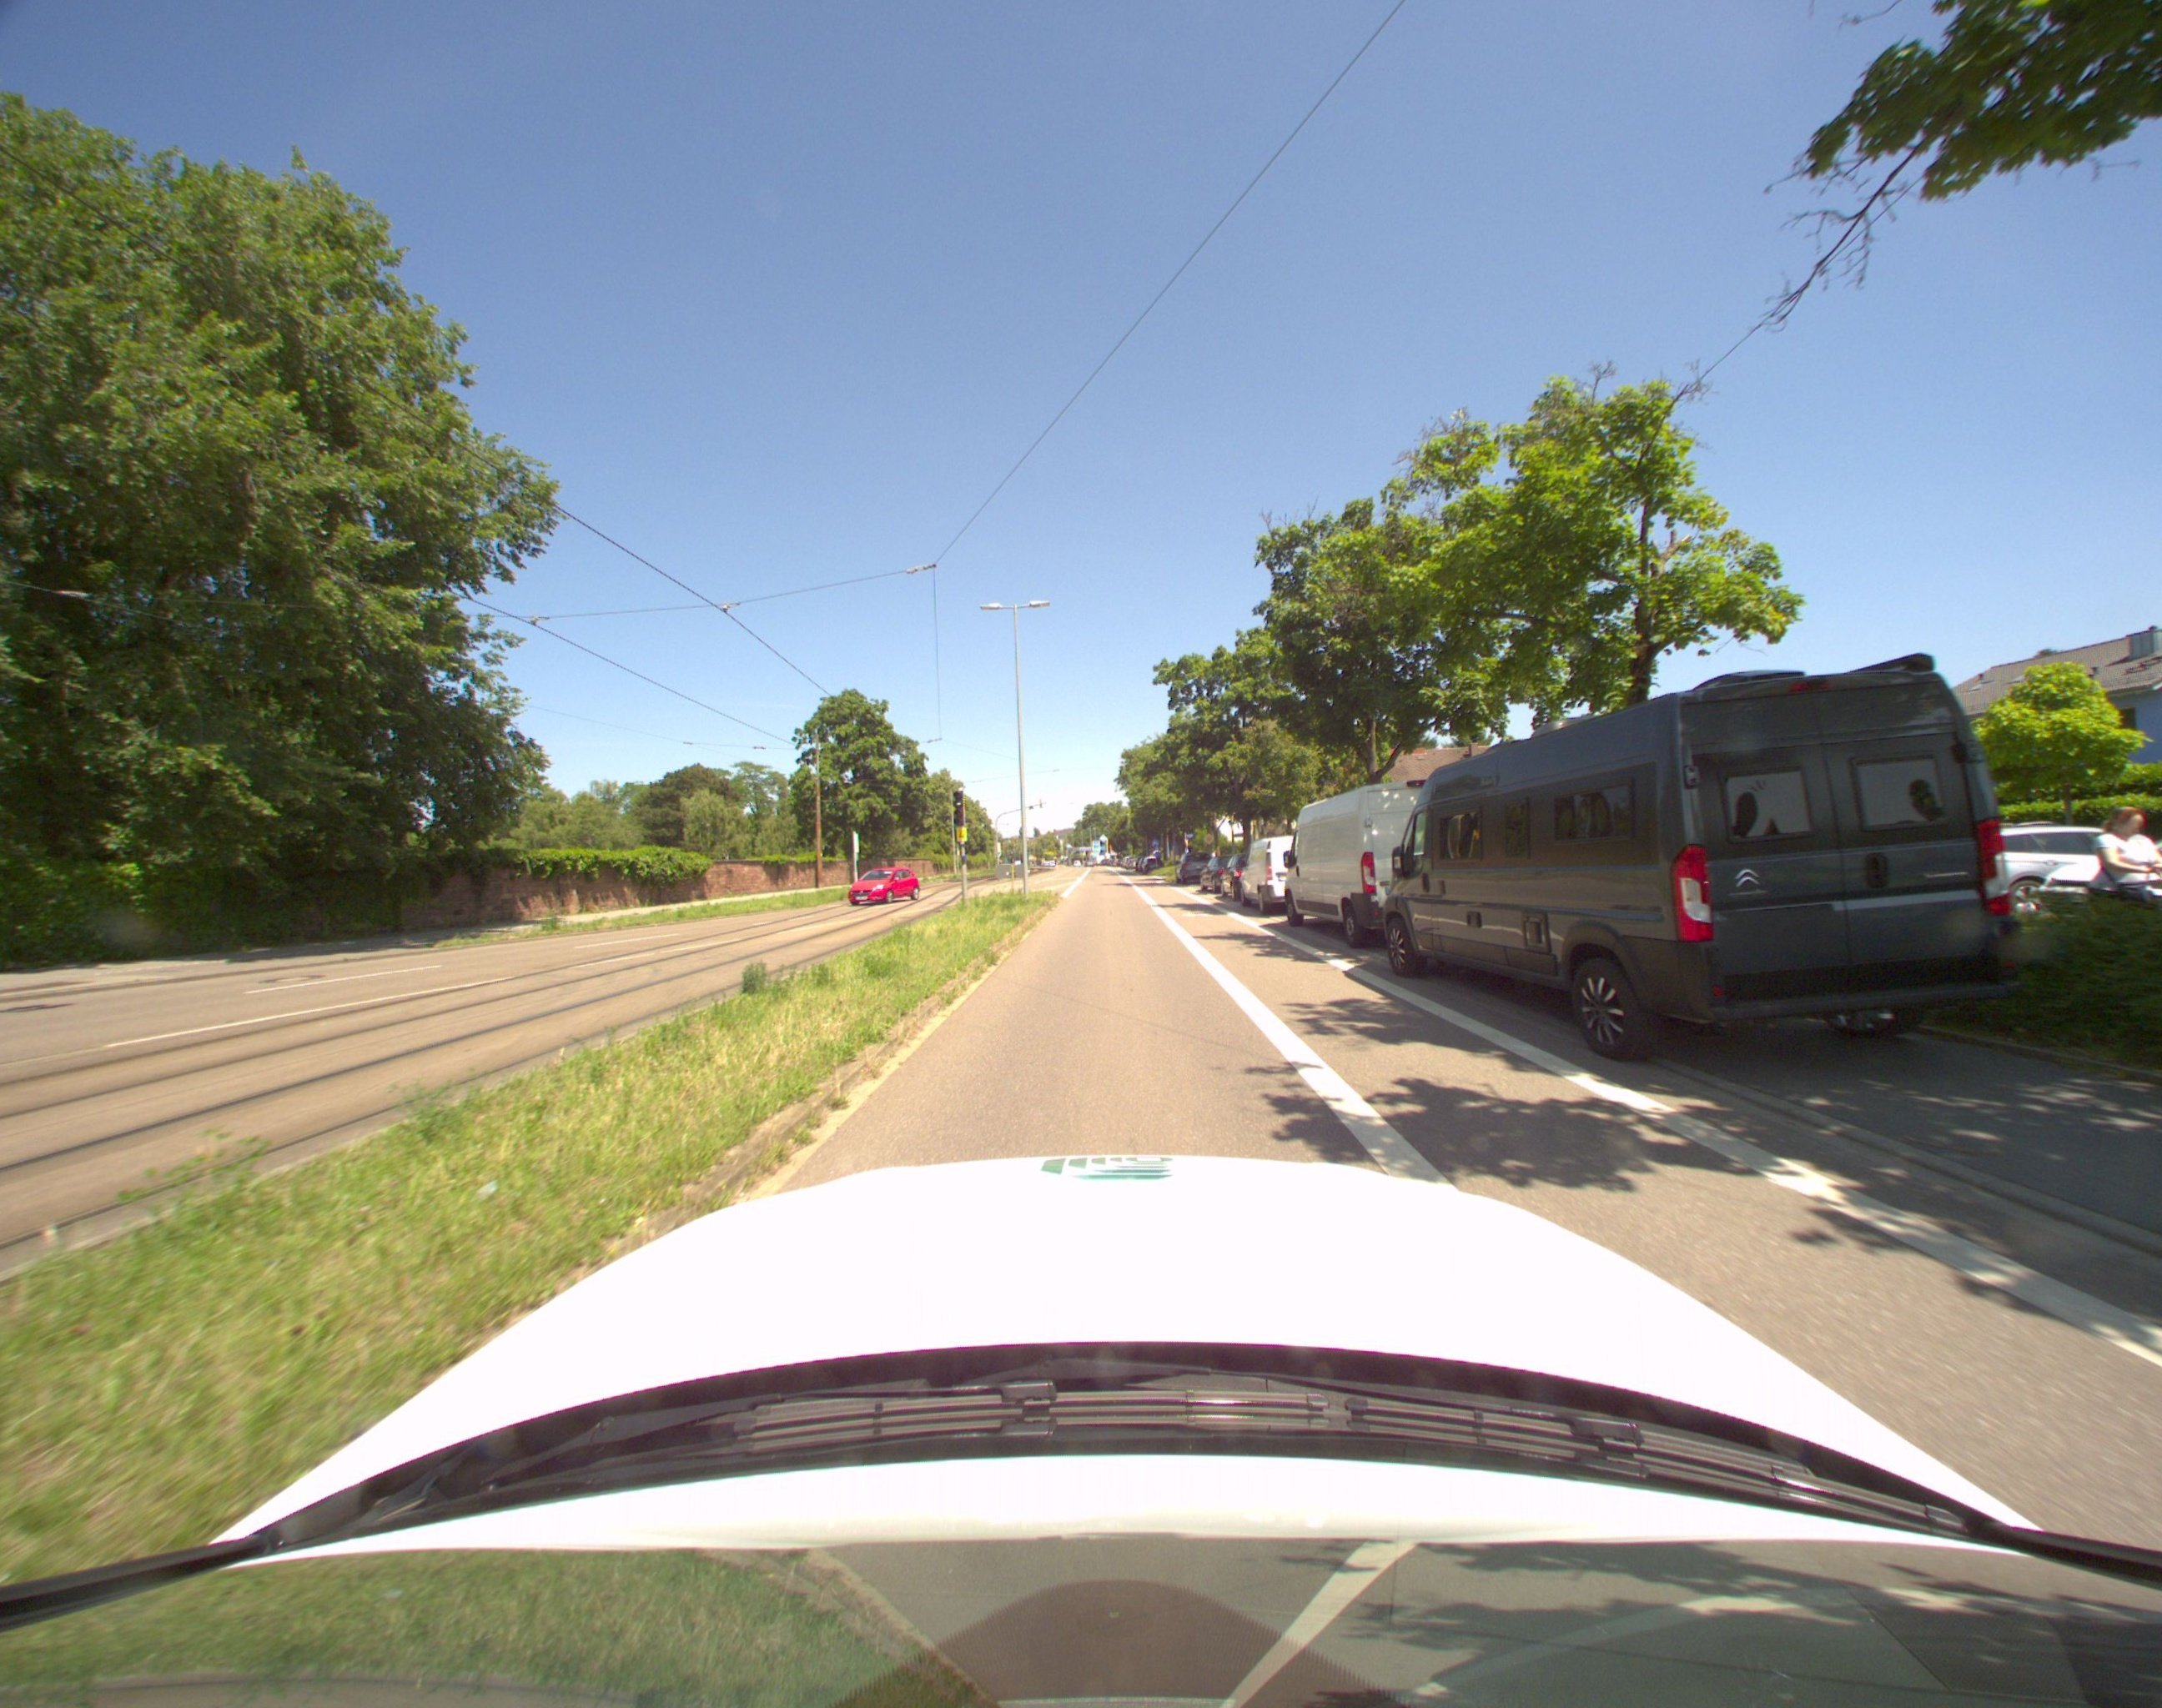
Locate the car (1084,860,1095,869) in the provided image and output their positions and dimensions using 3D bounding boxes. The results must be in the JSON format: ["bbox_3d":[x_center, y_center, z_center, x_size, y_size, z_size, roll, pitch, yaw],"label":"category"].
[{"bbox_3d":[1.664,2.109,167.188,1.752,1.630,4.317,-5,0,-4],"label":"car"}]

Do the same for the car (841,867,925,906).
[{"bbox_3d":[-8.241,1.321,34.353,1.695,1.414,4.296,-2,0,12],"label":"car"}]

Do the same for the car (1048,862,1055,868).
[{"bbox_3d":[-9.465,3.581,260.216,1.755,1.875,4.311,-5,0,-8],"label":"car"}]

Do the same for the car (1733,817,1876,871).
[{"bbox_3d":[28.127,-0.366,31.731,3.989,1.807,1.752,-4,-1,-2],"label":"car"}]

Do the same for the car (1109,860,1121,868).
[{"bbox_3d":[7.009,2.124,169.660,1.706,1.562,4.311,-5,0,-8],"label":"car"}]

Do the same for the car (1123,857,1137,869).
[{"bbox_3d":[8.116,1.535,135.430,1.835,1.794,4.352,-5,0,0],"label":"car"}]

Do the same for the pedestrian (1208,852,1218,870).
[{"bbox_3d":[12.664,0.655,78.107,0.746,1.722,0.632,-2,-1,-5],"label":"pedestrian"}]

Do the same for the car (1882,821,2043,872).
[{"bbox_3d":[28.975,-0.232,26.843,3.321,1.428,1.683,-4,-1,3],"label":"car"}]

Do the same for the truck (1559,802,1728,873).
[{"bbox_3d":[28.923,-0.812,42.045,6.924,3.085,2.424,-4,-1,0],"label":"truck"}]

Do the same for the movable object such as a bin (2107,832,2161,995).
[{"bbox_3d":[9.385,0.483,6.667,0.789,1.352,0.889,-2,-1,1],"label":"movable object such as a bin"}]

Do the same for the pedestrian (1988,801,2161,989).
[{"bbox_3d":[9.406,0.355,7.589,0.802,1.625,0.943,-2,-1,1],"label":"pedestrian"}]

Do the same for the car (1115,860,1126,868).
[{"bbox_3d":[7.648,1.987,158.473,1.703,1.492,5.033,-5,0,-3],"label":"car"}]

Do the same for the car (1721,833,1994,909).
[{"bbox_3d":[15.131,0.319,15.997,3.878,1.406,1.725,0,-1,-4],"label":"car"}]

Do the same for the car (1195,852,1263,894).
[{"bbox_3d":[5.802,0.713,32.392,1.707,1.418,4.706,-5,0,-1],"label":"car"}]

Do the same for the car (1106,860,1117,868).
[{"bbox_3d":[6.610,2.210,175.580,1.705,1.562,4.313,-5,0,-7],"label":"car"}]

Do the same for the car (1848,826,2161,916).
[{"bbox_3d":[15.527,0.272,13.601,3.875,1.406,1.727,0,-1,-2],"label":"car"}]

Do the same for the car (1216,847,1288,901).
[{"bbox_3d":[5.666,0.631,27.412,1.705,1.541,3.843,-5,0,3],"label":"car"}]

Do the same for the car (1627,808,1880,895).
[{"bbox_3d":[15.463,-0.048,18.892,4.396,1.909,1.952,0,-1,-4],"label":"car"}]

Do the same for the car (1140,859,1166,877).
[{"bbox_3d":[6.678,1.263,75.924,1.835,1.436,4.822,-5,0,-1],"label":"car"}]

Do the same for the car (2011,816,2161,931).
[{"bbox_3d":[15.339,0.235,10.744,4.264,1.406,1.727,0,-1,-2],"label":"car"}]

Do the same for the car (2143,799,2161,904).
[{"bbox_3d":[28.183,-0.237,18.362,5.470,2.459,2.095,-4,-1,1],"label":"car"}]

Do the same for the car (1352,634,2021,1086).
[{"bbox_3d":[4.742,0.051,8.063,1.991,2.636,6.079,-5,0,1],"label":"car"}]

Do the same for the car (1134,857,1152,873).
[{"bbox_3d":[7.116,1.237,93.528,1.833,1.706,4.629,-5,0,2],"label":"car"}]

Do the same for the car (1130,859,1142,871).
[{"bbox_3d":[7.797,1.583,115.441,1.513,1.529,3.817,-5,0,1],"label":"car"}]

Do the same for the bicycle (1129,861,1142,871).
[{"bbox_3d":[7.602,1.634,113.403,1.765,1.228,0.684,-7,-1,5],"label":"bicycle"}]

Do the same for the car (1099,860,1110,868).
[{"bbox_3d":[5.429,2.334,185.566,1.755,1.630,4.311,-5,0,-8],"label":"car"}]

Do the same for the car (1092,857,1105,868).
[{"bbox_3d":[4.254,2.134,195.698,2.001,2.457,6.090,-4,0,-9],"label":"car"}]

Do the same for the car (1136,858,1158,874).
[{"bbox_3d":[7.082,1.236,87.890,1.835,1.529,4.351,-5,0,-1],"label":"car"}]

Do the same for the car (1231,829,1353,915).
[{"bbox_3d":[5.424,0.427,21.692,1.989,1.878,5.280,-5,0,3],"label":"car"}]

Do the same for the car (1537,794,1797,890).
[{"bbox_3d":[15.600,-0.291,21.947,5.469,2.459,2.095,0,-1,1],"label":"car"}]

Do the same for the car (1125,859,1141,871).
[{"bbox_3d":[7.676,1.648,120.450,1.836,1.529,4.962,-5,0,-2],"label":"car"}]

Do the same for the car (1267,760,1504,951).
[{"bbox_3d":[5.156,0.035,14.997,1.991,2.636,6.143,-5,0,1],"label":"car"}]

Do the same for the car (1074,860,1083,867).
[{"bbox_3d":[-0.538,2.473,209.367,1.754,1.630,4.314,-5,0,-6],"label":"car"}]

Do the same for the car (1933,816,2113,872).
[{"bbox_3d":[28.221,-0.287,24.485,3.321,1.428,1.683,-4,-1,3],"label":"car"}]

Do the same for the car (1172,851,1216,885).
[{"bbox_3d":[6.069,0.776,44.290,1.706,1.632,4.709,-5,-1,1],"label":"car"}]

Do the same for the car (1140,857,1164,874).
[{"bbox_3d":[7.117,1.178,82.322,1.836,1.529,4.203,-5,0,-2],"label":"car"}]
